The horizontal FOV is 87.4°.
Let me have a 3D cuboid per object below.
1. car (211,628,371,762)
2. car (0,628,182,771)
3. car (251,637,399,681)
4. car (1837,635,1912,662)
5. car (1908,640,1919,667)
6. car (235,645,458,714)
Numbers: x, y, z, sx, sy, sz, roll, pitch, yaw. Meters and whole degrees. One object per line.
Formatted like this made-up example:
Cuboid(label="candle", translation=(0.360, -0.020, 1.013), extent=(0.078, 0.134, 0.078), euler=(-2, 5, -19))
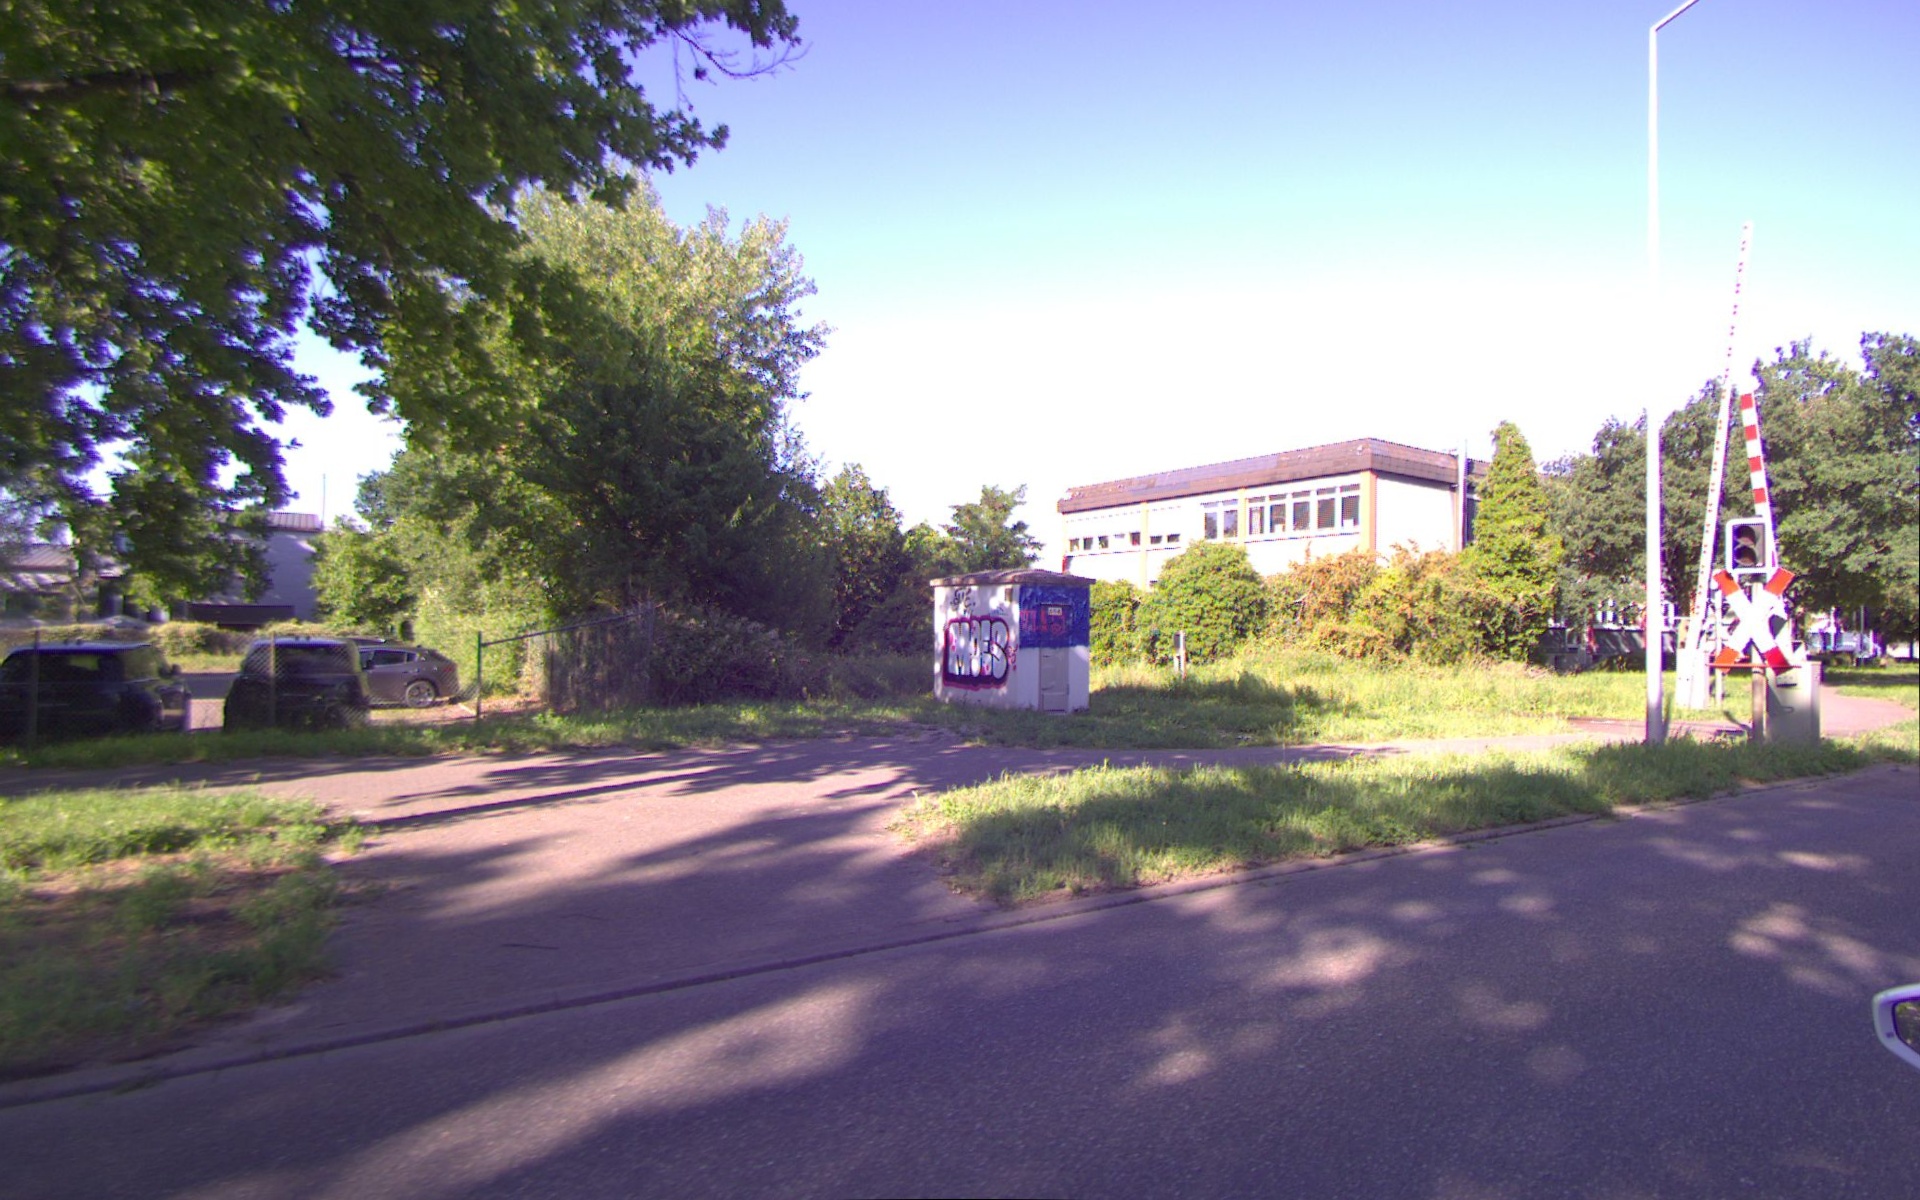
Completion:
Cuboid(label="car", translation=(-11.259, 1.471, 17.052), extent=(1.979, 1.825, 4.166), euler=(2, 0, -33))
Cuboid(label="car", translation=(-13.851, 1.437, 15.924), extent=(1.979, 1.825, 4.166), euler=(2, 0, -33))
Cuboid(label="car", translation=(-25.224, 2.318, 40.154), extent=(4.825, 1.587, 1.985), euler=(2, 0, -29))
Cuboid(label="car", translation=(63.214, 3.329, 69.493), extent=(1.974, 1.664, 3.348), euler=(2, 0, -26))
Cuboid(label="car", translation=(75.037, 4.154, 75.206), extent=(1.985, 2.040, 5.739), euler=(2, 0, -41))
Cuboid(label="car", translation=(-16.048, 2.018, 26.454), extent=(4.836, 1.587, 1.981), euler=(2, 0, -35))
